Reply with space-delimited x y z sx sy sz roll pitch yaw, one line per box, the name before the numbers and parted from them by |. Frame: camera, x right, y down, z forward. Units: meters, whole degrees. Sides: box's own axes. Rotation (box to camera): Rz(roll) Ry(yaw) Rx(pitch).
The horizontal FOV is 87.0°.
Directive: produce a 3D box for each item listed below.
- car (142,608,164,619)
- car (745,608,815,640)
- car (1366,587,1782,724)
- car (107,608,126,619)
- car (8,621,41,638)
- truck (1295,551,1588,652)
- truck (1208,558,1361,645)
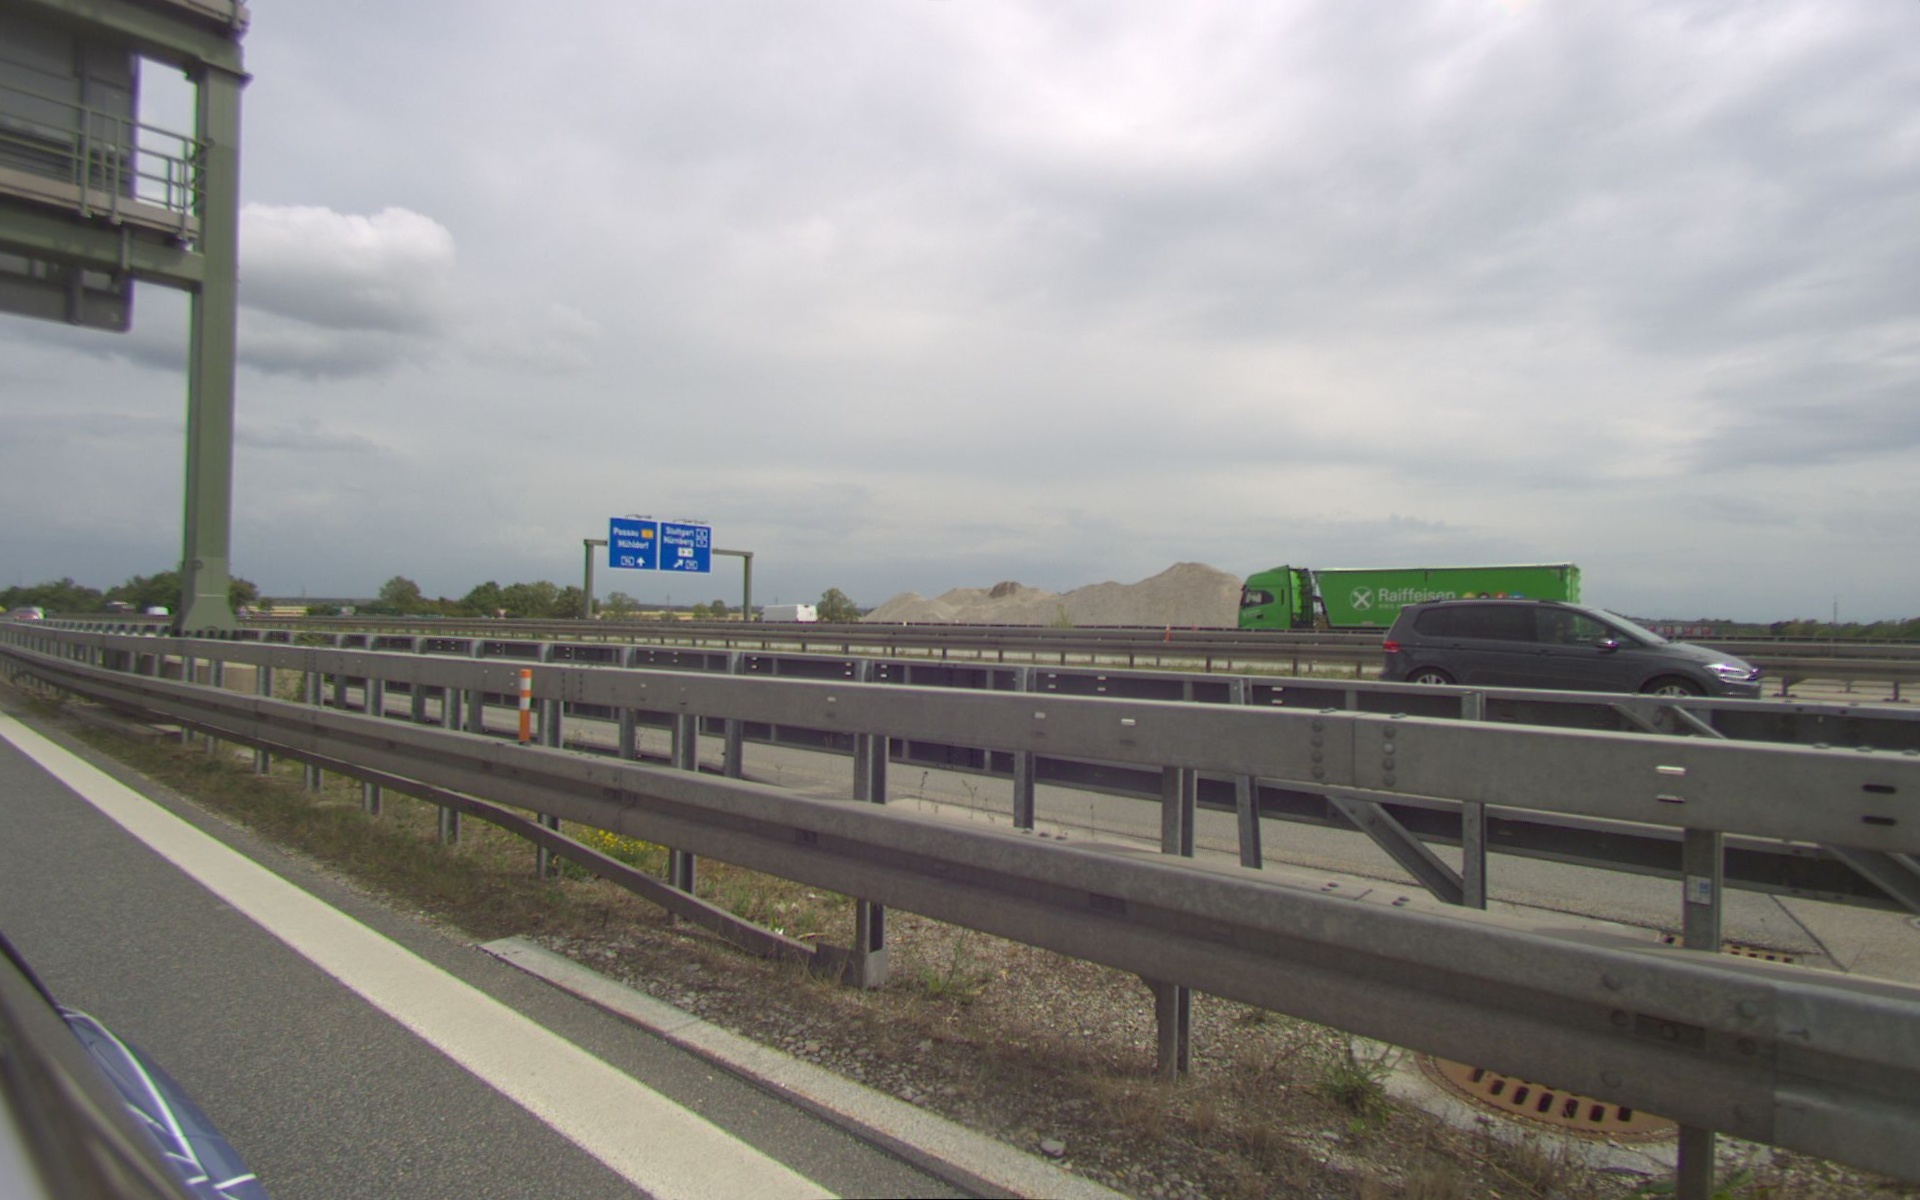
car | -135.783 2.262 170.249 4.747 1.874 2.080 0 0 40
car | -13.398 1.755 75.187 5.514 2.240 2.173 0 0 41
car | 8.206 0.637 13.799 4.612 1.558 1.861 0 0 41
car | -155.426 2.445 186.499 3.994 1.874 1.809 0 0 38
car | -92.323 2.883 99.876 4.351 1.557 1.801 0 0 40
truck | 19.392 0.073 41.443 10.431 3.662 2.982 0 0 41
truck | 14.576 0.063 45.639 5.891 3.636 3.010 0 0 41
